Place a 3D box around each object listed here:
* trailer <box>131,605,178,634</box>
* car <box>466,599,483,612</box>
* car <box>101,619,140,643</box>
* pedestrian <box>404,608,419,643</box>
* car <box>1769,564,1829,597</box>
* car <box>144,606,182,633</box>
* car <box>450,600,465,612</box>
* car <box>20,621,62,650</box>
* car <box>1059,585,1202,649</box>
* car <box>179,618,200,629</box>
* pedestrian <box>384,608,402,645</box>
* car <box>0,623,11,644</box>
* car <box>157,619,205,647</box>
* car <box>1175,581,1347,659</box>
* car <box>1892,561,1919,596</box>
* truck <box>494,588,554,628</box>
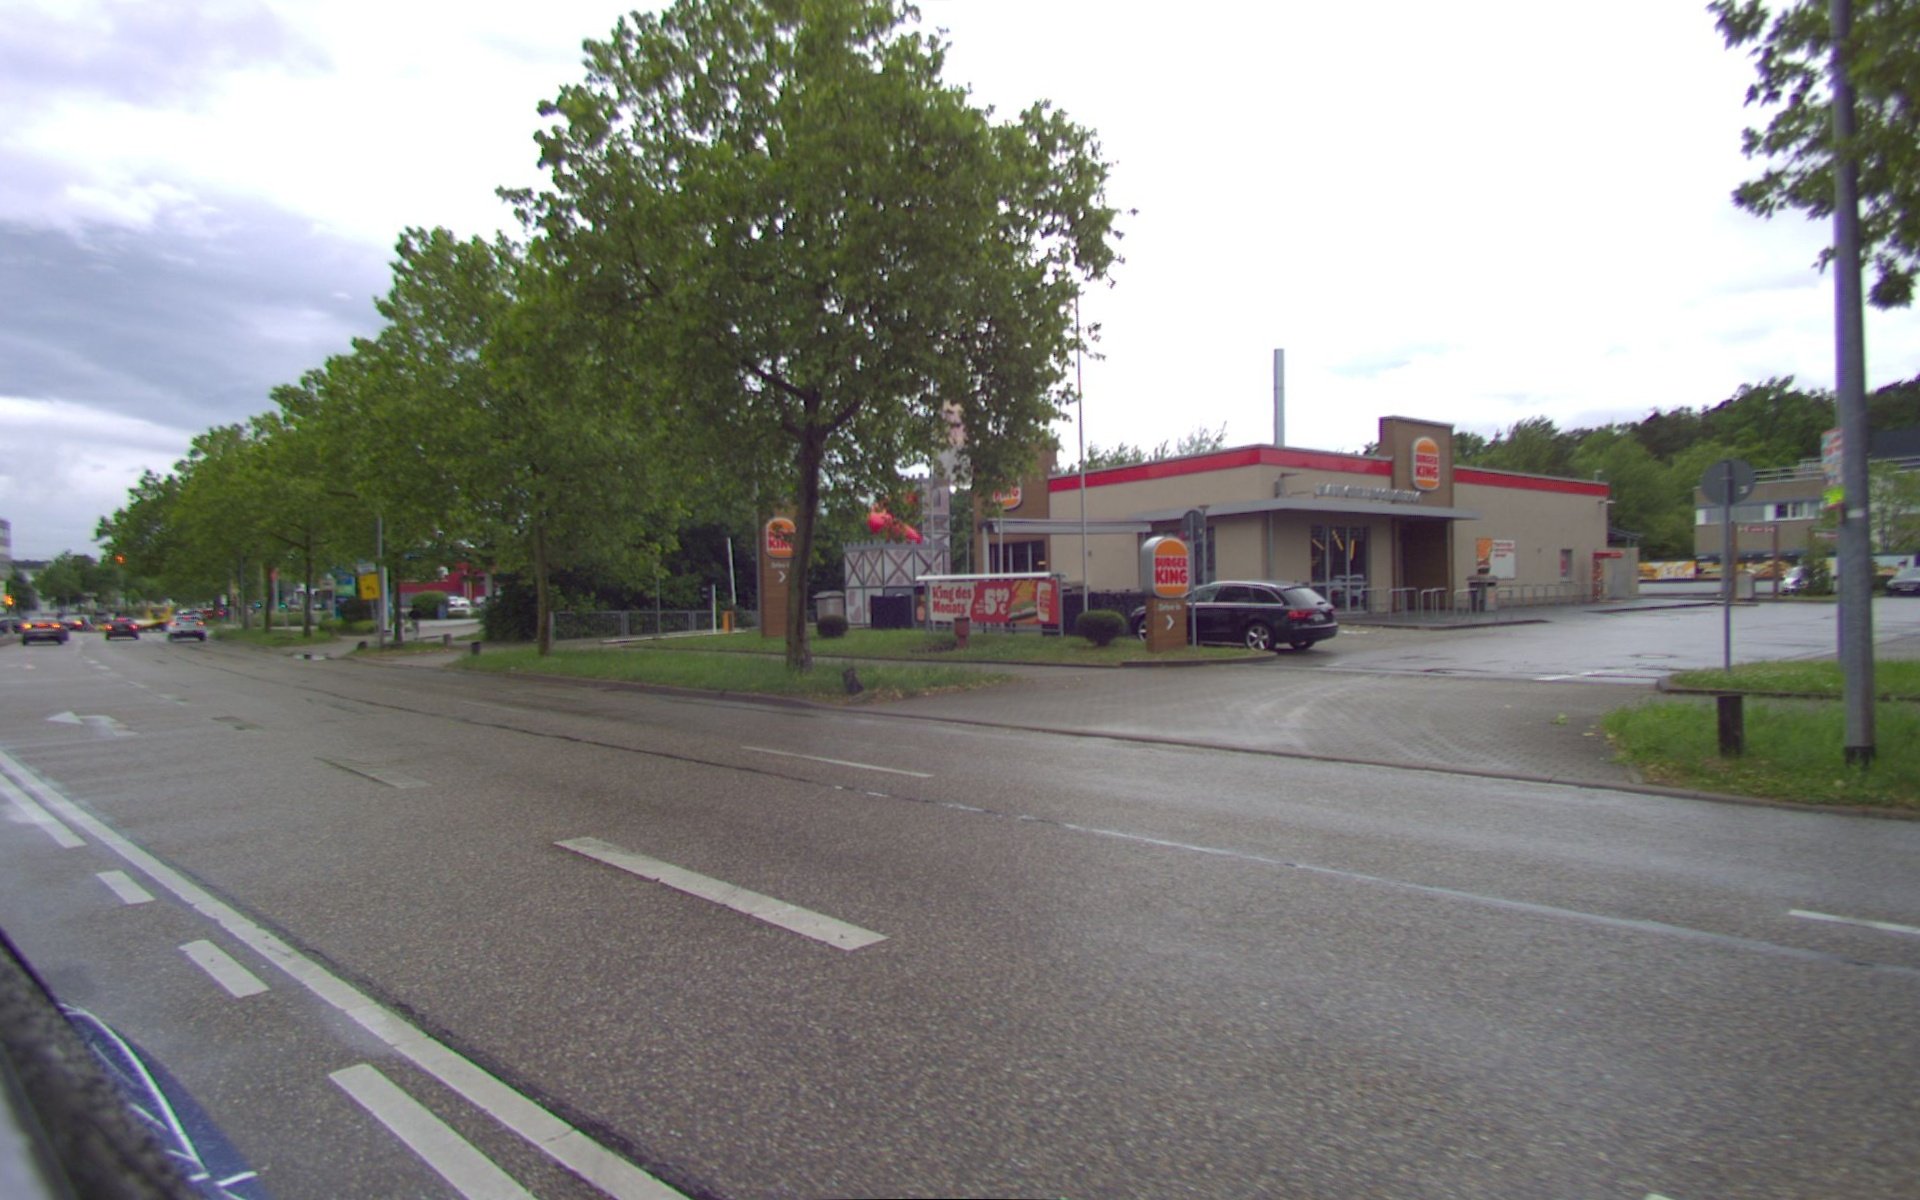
[{"bbox_3d":[-76.495,1.925,96.245,2.272,2.492,7.995,-3,0,-30],"label":"trailer"},{"bbox_3d":[-64.359,0.695,134.107,1.645,1.658,3.837,0,-1,-33],"label":"car"},{"bbox_3d":[-57.947,2.159,69.830,1.969,1.520,4.737,1,-3,-41],"label":"car"},{"bbox_3d":[-26.843,1.241,49.537,0.541,1.695,0.506,-2,-2,44],"label":"pedestrian"},{"bbox_3d":[44.667,-1.039,53.856,3.781,1.641,1.719,-1,0,-38],"label":"car"},{"bbox_3d":[-78.676,1.961,99.938,2.208,2.492,5.030,-3,0,-30],"label":"car"},{"bbox_3d":[-73.757,0.839,148.533,1.645,1.658,3.973,0,-1,-33],"label":"car"},{"bbox_3d":[-53.820,2.048,59.267,1.790,1.574,4.603,0,-1,-43],"label":"car"},{"bbox_3d":[3.736,0.343,22.018,3.136,1.163,1.293,-4,2,-40],"label":"car"},{"bbox_3d":[-103.356,3.185,135.765,1.758,1.415,4.012,0,-1,-31],"label":"car"},{"bbox_3d":[-27.380,1.266,48.884,0.655,1.780,0.585,-2,0,-24],"label":"pedestrian"},{"bbox_3d":[-78.184,2.708,80.449,1.814,1.552,3.944,0,1,43],"label":"car"},{"bbox_3d":[-48.613,2.027,63.147,1.906,1.631,4.402,0,-1,-44],"label":"car"},{"bbox_3d":[6.178,0.348,21.012,1.416,1.437,3.197,-2,3,-40],"label":"car"},{"bbox_3d":[47.909,-1.080,50.329,3.781,1.641,1.719,-1,0,-38],"label":"car"},{"bbox_3d":[-31.348,0.633,73.019,2.121,2.696,7.888,-1,-1,-9],"label":"truck"}]
